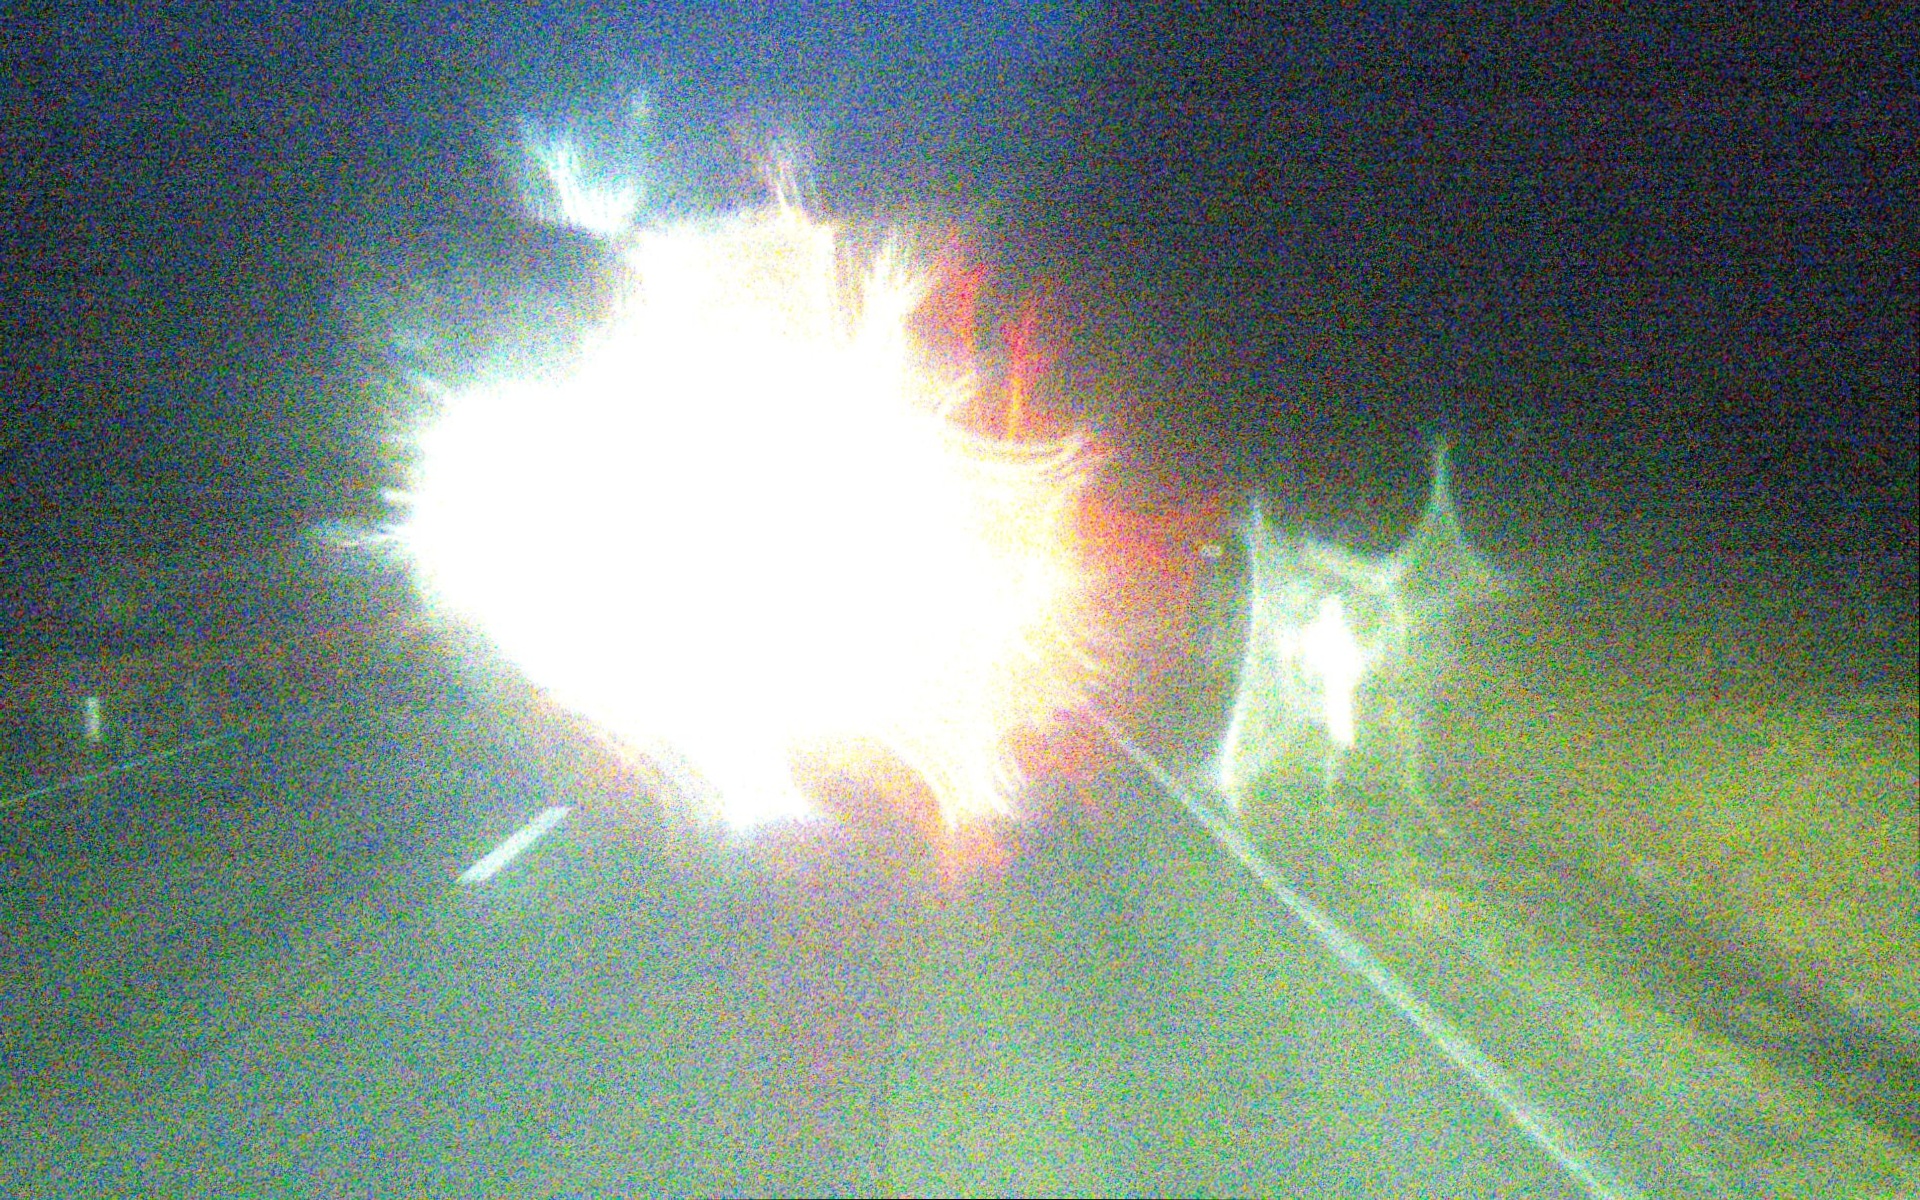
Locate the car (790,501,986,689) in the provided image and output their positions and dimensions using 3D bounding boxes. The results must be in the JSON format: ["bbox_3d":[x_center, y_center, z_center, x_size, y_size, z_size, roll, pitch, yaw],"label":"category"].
[{"bbox_3d":[-0.836,-0.110,38.030,1.993,1.800,3.918,-2,3,-2],"label":"car"}]
